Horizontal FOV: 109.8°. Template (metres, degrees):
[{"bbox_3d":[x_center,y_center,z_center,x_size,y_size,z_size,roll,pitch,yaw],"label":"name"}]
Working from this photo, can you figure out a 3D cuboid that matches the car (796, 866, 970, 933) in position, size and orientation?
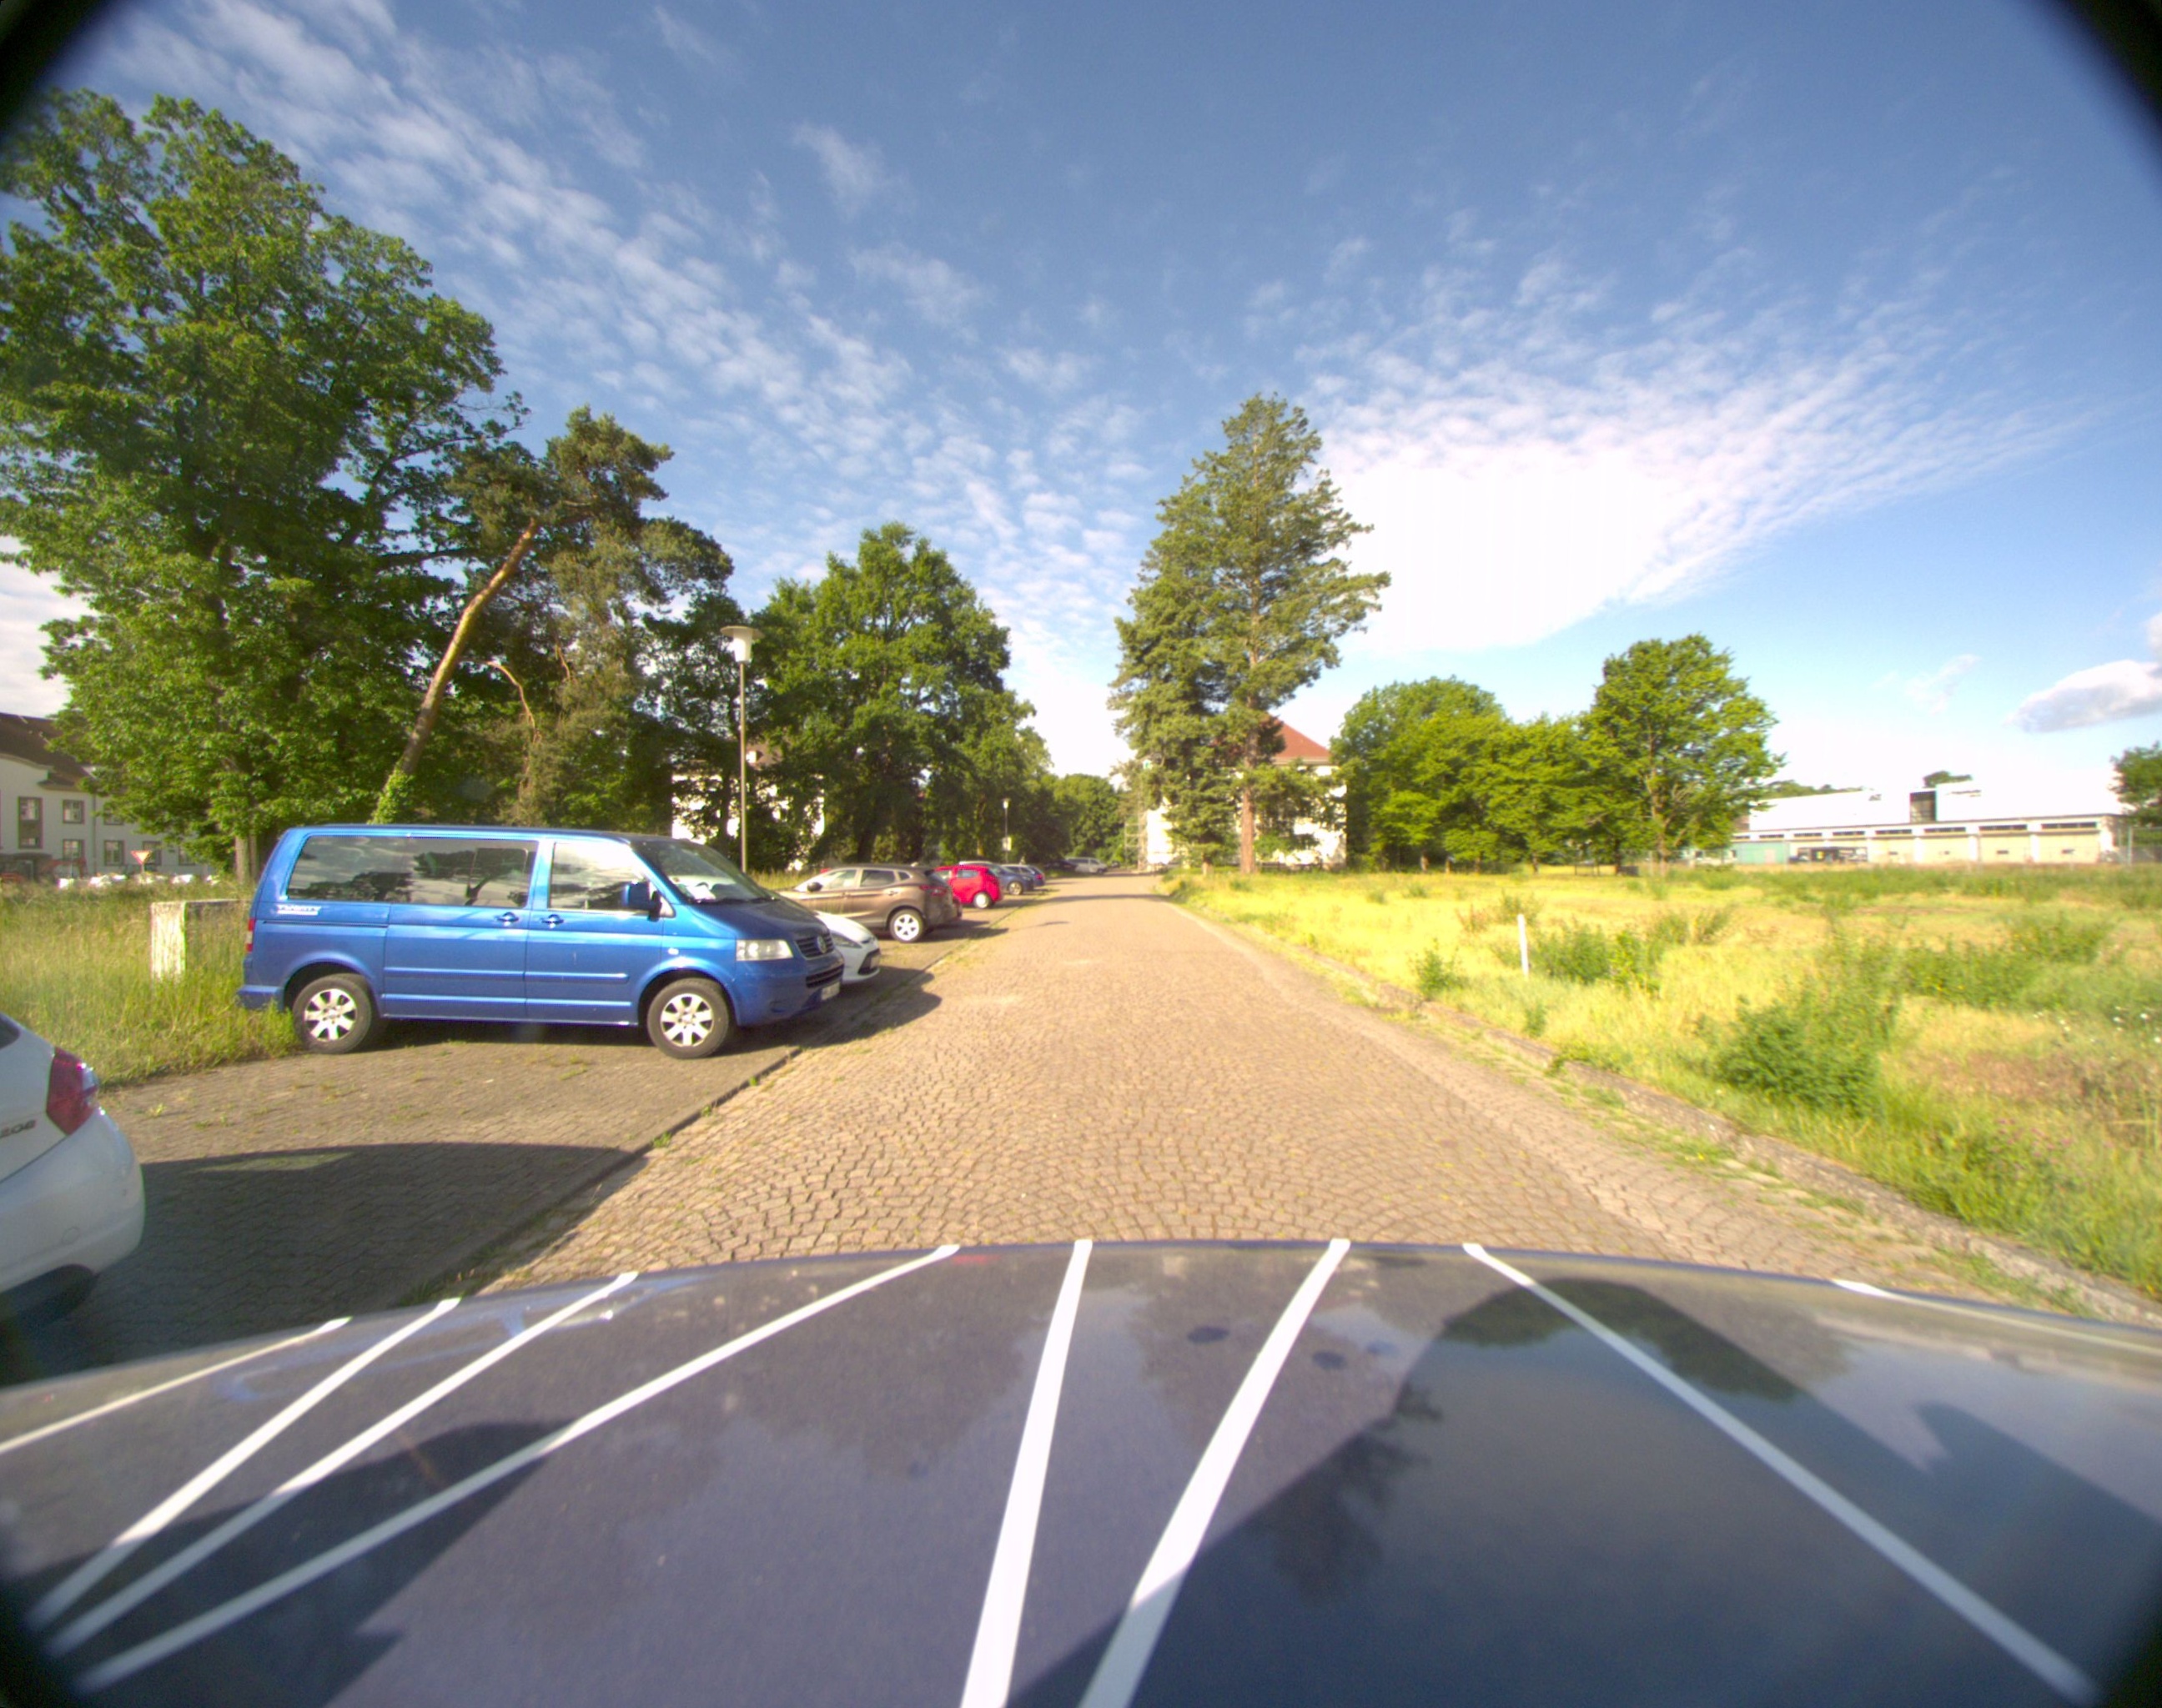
[{"bbox_3d":[-4.799,1.086,18.784,3.834,1.529,1.703,0,0,2],"label":"car"}]

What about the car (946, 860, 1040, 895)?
[{"bbox_3d":[-4.172,1.118,36.529,4.273,1.589,1.651,-1,0,1],"label":"car"}]

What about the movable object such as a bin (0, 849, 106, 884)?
[{"bbox_3d":[-88.799,1.057,65.678,2.177,2.884,5.076,0,0,8],"label":"movable object such as a bin"}]

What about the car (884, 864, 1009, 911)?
[{"bbox_3d":[-4.596,1.142,26.246,3.997,1.486,1.540,-1,0,1],"label":"car"}]

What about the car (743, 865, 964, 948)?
[{"bbox_3d":[-4.653,1.051,15.992,4.117,1.601,1.786,0,0,0],"label":"car"}]

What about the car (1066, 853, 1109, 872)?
[{"bbox_3d":[0.747,0.974,90.074,4.993,2.123,2.165,-1,0,-1],"label":"car"}]

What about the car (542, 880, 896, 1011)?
[{"bbox_3d":[-4.438,1.103,9.721,3.729,1.458,1.610,1,0,-1],"label":"car"}]

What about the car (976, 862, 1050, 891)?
[{"bbox_3d":[-3.644,1.227,41.247,3.809,1.457,1.747,-1,0,2],"label":"car"}]

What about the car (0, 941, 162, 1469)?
[{"bbox_3d":[-4.966,1.046,1.794,3.653,1.483,1.634,0,0,1],"label":"car"}]

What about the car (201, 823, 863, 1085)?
[{"bbox_3d":[-4.748,0.801,7.134,4.765,2.002,2.000,1,0,1],"label":"car"}]
